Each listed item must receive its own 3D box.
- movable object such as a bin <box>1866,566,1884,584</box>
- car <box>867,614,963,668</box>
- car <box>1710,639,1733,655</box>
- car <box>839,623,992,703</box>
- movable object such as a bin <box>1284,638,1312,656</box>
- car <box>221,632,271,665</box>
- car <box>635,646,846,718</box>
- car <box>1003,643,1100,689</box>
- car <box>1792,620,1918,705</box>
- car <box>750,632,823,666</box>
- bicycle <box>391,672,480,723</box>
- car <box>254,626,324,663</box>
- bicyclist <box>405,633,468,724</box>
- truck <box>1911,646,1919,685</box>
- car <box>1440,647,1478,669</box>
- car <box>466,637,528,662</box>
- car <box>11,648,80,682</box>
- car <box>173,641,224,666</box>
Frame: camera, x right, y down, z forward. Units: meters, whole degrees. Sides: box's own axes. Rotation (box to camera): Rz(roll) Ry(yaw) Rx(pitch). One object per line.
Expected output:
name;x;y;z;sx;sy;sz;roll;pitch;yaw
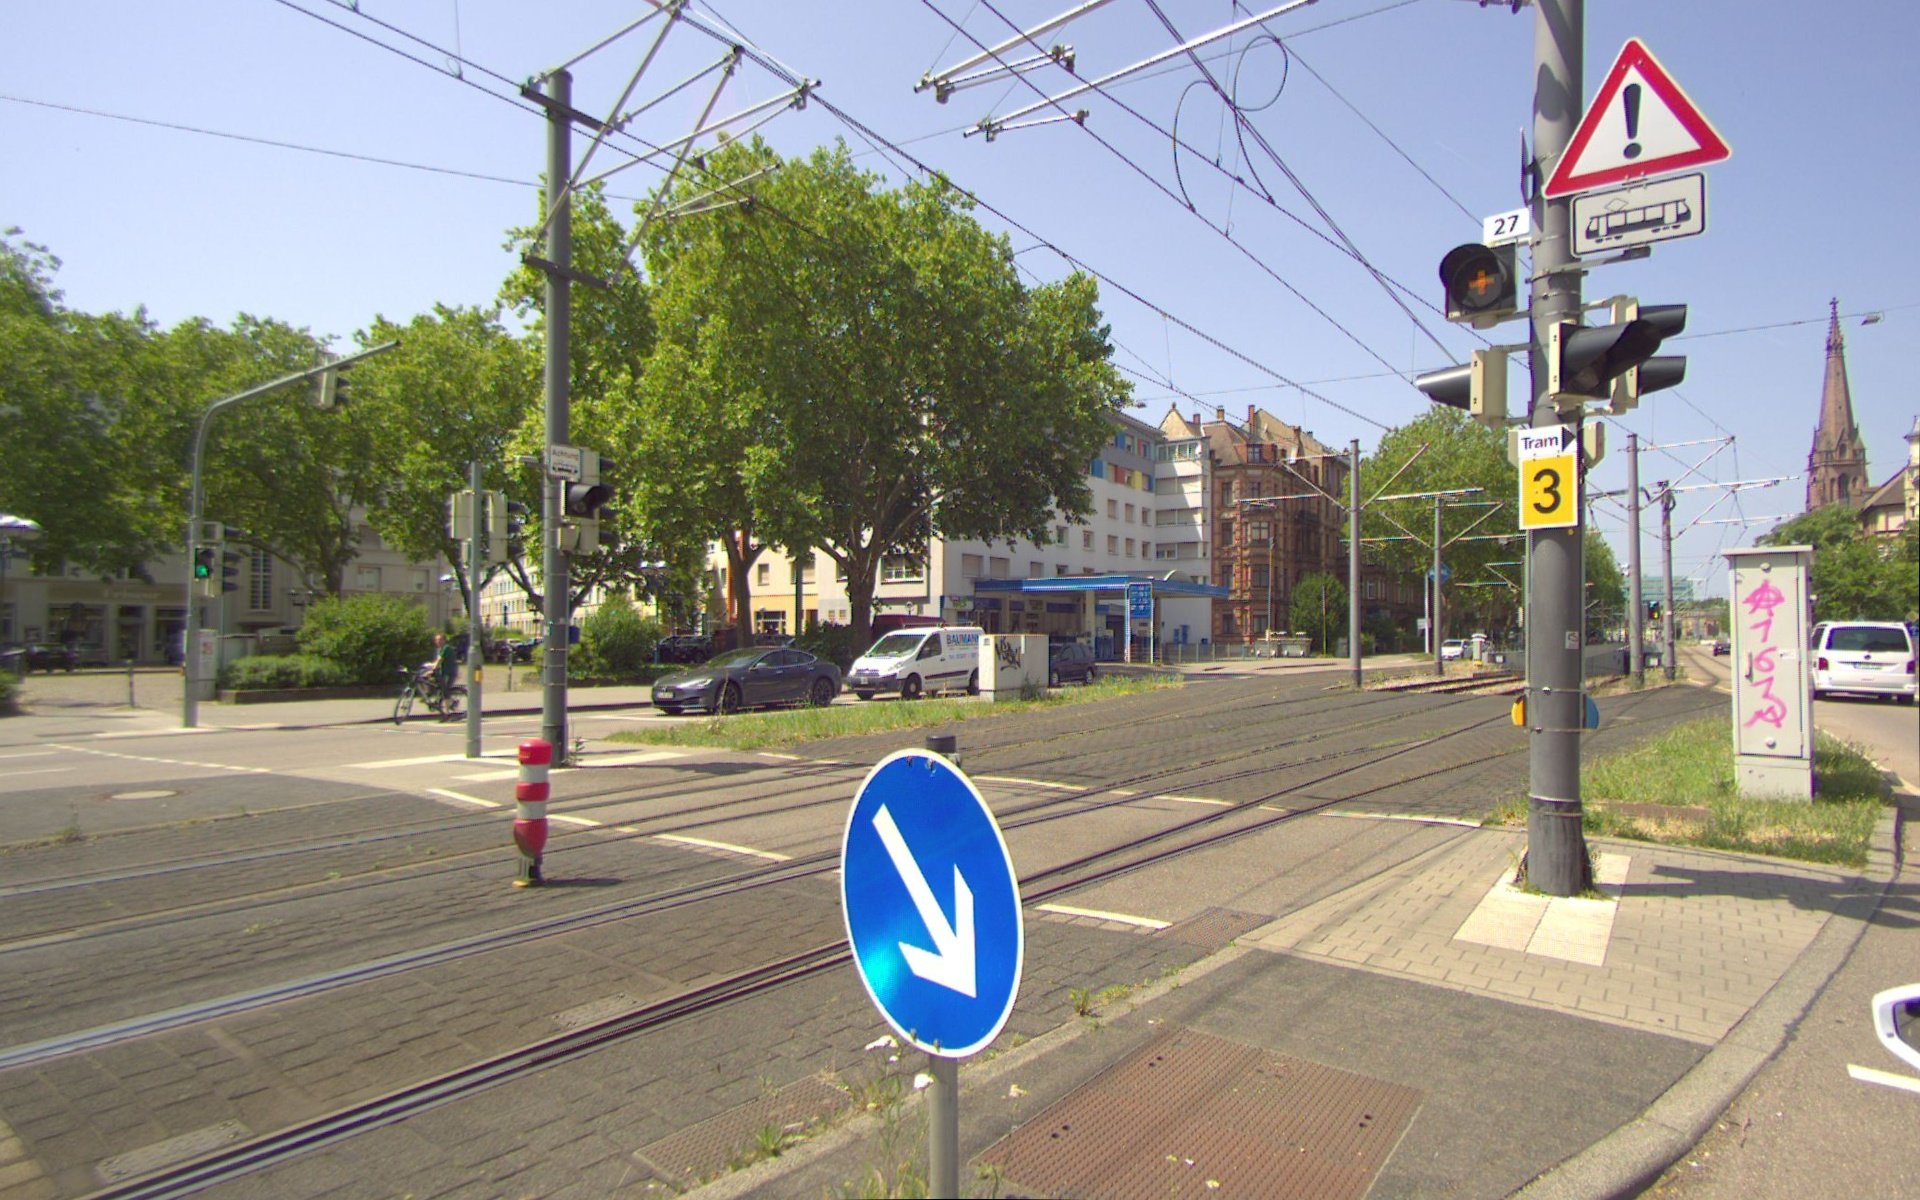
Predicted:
movable object such as a bin;54.419;-1.457;59.726;0.779;1.027;0.647;-1;-2;42
car;-2.071;1.923;47.724;1.823;2.424;4.963;-1;-2;37
car;79.627;4.925;105.042;1.727;1.559;3.746;0;-2;35
car;-1.115;1.678;27.891;1.753;2.017;4.791;-1;-2;34
movable object such as a bin;26.166;3.630;77.782;1.758;1.403;1.466;-1;-2;34
car;-44.946;3.034;63.212;3.867;1.975;1.566;-1;-2;40
car;-4.809;1.769;22.675;1.921;1.377;4.615;-1;-2;34
car;3.144;2.195;33.891;1.575;1.438;3.770;-3;-4;35
car;22.758;1.533;25.707;1.891;1.969;4.251;0;-2;35
car;-9.130;2.574;53.212;1.559;1.714;3.916;-1;-2;33
bicycle;-10.221;1.881;19.617;0.489;0.894;1.479;0;-2;33
car;-37.096;2.430;55.508;3.939;1.975;2.156;-1;-2;40
bicyclist;-10.243;1.511;19.658;0.629;1.708;0.867;0;-2;32
truck;39.274;2.646;39.782;1.766;1.546;4.450;0;-2;36
car;38.592;4.450;77.631;1.823;1.646;4.586;-3;-3;36
car;-28.513;3.009;61.818;3.785;1.507;1.729;-1;-2;34
car;-43.191;3.027;47.444;3.862;1.428;1.617;0;-2;36
car;-46.109;3.225;60.804;3.867;1.428;1.615;-1;-2;40
